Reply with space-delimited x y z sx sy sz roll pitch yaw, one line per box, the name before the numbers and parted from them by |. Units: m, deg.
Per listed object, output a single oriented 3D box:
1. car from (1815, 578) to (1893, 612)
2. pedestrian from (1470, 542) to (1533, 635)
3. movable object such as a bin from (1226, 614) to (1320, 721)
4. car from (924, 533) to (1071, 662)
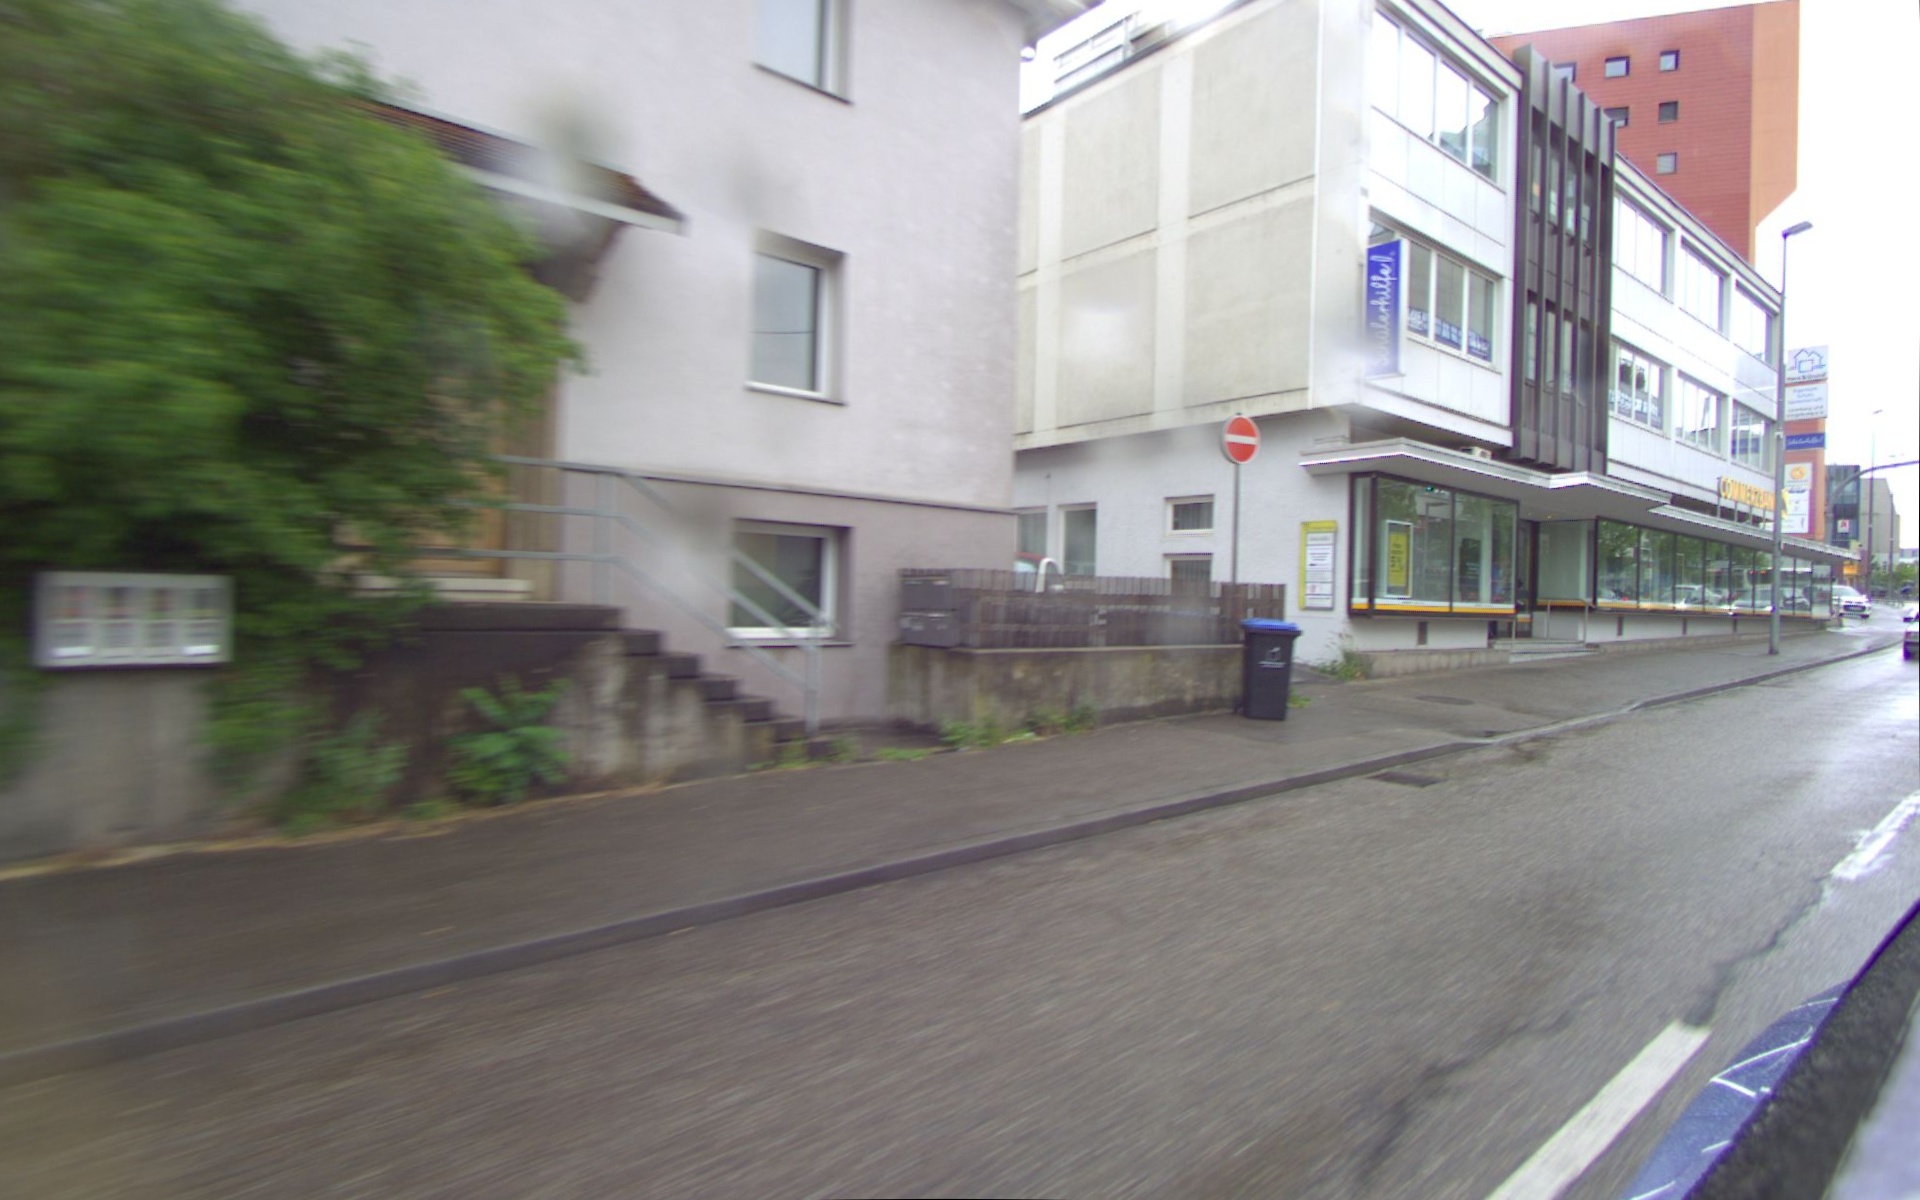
car | 42.188 -0.273 47.833 1.596 1.480 3.402 1 2 20
pedestrian | 10.751 -0.219 20.096 0.934 1.803 0.732 1 0 -33
movable object such as a bin | 3.342 0.699 10.808 0.816 1.061 0.577 2 1 -41
car | 0.628 -0.101 14.181 1.336 1.520 3.327 4 3 14
